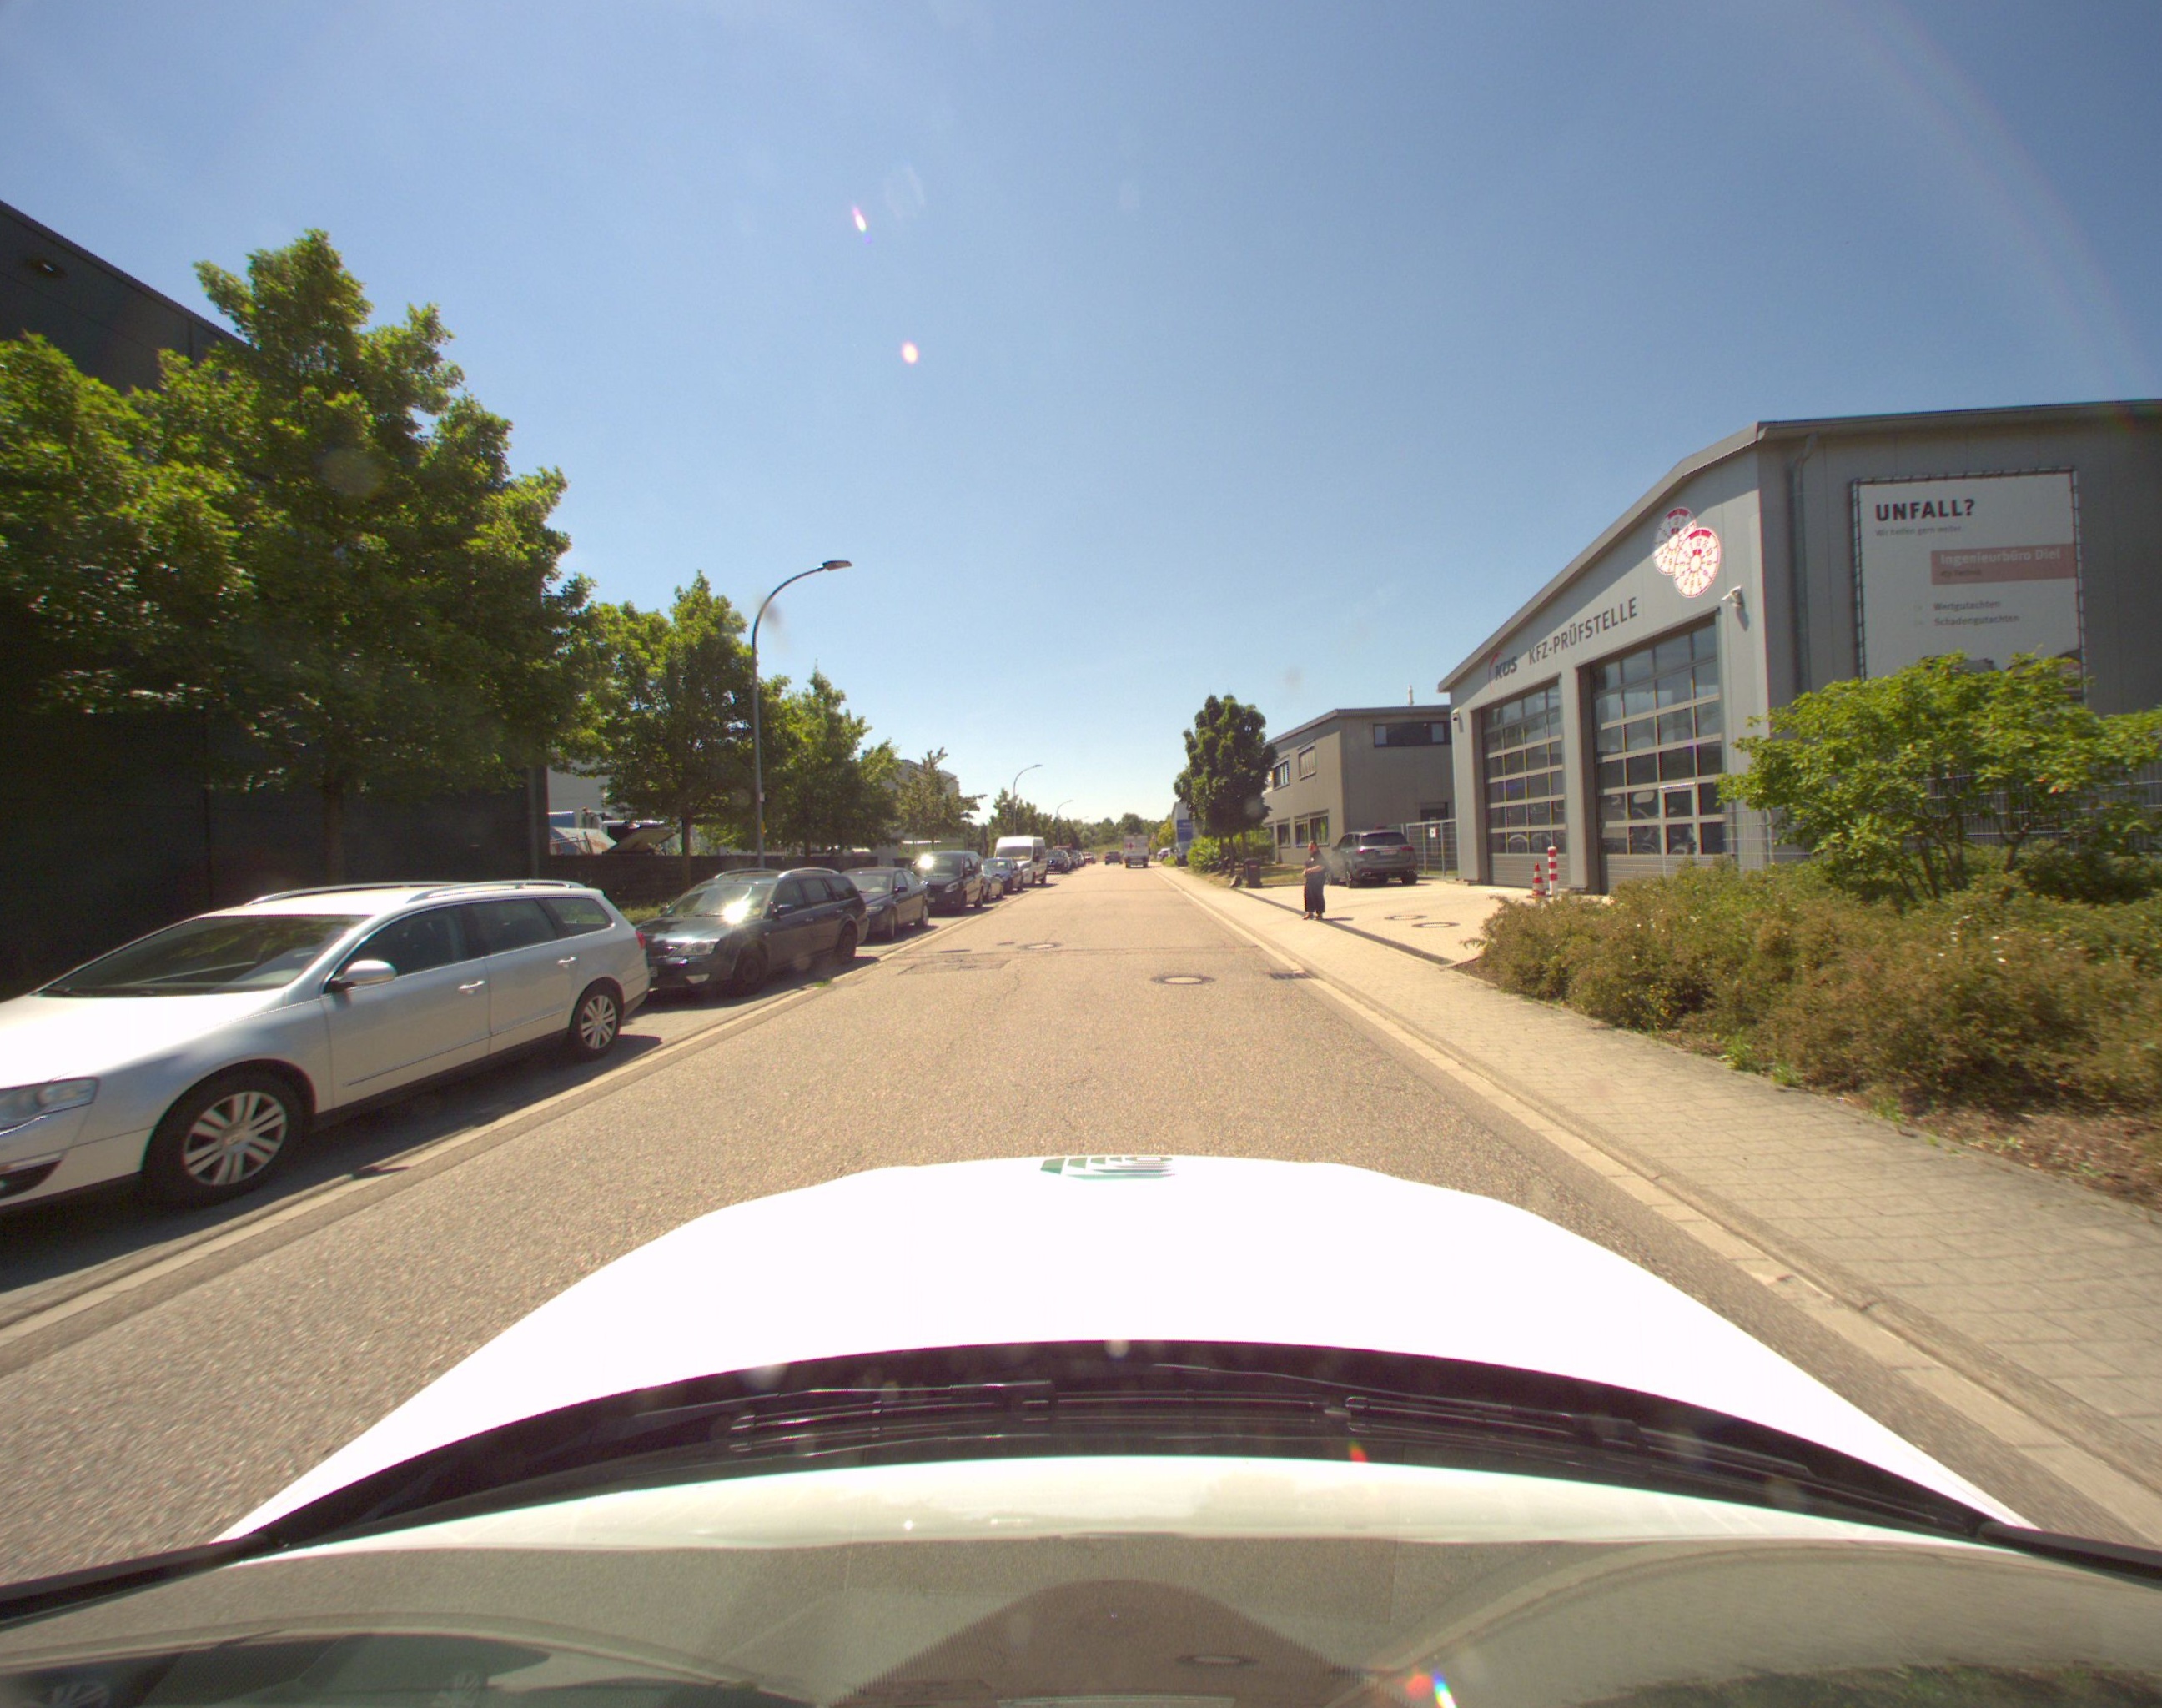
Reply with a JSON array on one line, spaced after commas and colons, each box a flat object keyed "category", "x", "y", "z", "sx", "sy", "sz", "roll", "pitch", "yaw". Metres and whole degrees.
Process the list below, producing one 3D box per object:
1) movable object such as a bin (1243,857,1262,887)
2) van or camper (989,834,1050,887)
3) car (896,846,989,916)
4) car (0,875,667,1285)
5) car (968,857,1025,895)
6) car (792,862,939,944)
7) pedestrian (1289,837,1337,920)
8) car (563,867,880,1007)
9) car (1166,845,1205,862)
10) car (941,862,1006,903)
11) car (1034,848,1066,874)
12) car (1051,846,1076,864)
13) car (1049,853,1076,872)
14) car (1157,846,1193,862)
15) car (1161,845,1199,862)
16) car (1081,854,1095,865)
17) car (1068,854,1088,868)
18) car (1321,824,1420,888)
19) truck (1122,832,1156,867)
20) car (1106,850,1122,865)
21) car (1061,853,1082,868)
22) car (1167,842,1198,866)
[{"category": "movable object such as a bin", "x": 6.126, "y": 0.642, "z": 29.096, "sx": 0.529, "sy": 1.052, "sz": 0.846, "roll": -2, "pitch": -1, "yaw": 5}, {"category": "van or camper", "x": -2.980, "y": 0.297, "z": 41.156, "sx": 2.068, "sy": 2.483, "sz": 6.139, "roll": 0, "pitch": 0, "yaw": 5}, {"category": "car", "x": -3.933, "y": 0.734, "z": 23.795, "sx": 1.792, "sy": 1.814, "sz": 4.254, "roll": -1, "pitch": 0, "yaw": 2}, {"category": "car", "x": -4.934, "y": 0.949, "z": 5.399, "sx": 1.791, "sy": 1.476, "sz": 4.559, "roll": -1, "pitch": 0, "yaw": 3}, {"category": "car", "x": -3.483, "y": 0.860, "z": 34.266, "sx": 1.792, "sy": 1.449, "sz": 4.254, "roll": -1, "pitch": 0, "yaw": 2}, {"category": "car", "x": -4.501, "y": 0.954, "z": 17.761, "sx": 1.792, "sy": 1.476, "sz": 4.591, "roll": -1, "pitch": 0, "yaw": 2}, {"category": "pedestrian", "x": 4.726, "y": 0.493, "z": 16.603, "sx": 0.500, "sy": 1.613, "sz": 0.711, "roll": -6, "pitch": -1, "yaw": -13}, {"category": "car", "x": -4.596, "y": 0.969, "z": 11.373, "sx": 1.788, "sy": 1.476, "sz": 4.648, "roll": -1, "pitch": 0, "yaw": 9}, {"category": "car", "x": 10.894, "y": -0.029, "z": 85.129, "sx": 3.863, "sy": 1.750, "sz": 1.752, "roll": 0, "pitch": 0, "yaw": 0}, {"category": "car", "x": -3.753, "y": 0.984, "z": 29.021, "sx": 1.471, "sy": 1.297, "sz": 3.904, "roll": -1, "pitch": 0, "yaw": 5}, {"category": "car", "x": -2.284, "y": 0.483, "z": 61.078, "sx": 1.791, "sy": 1.848, "sz": 4.258, "roll": -1, "pitch": 0, "yaw": 4}, {"category": "car", "x": -1.529, "y": 0.059, "z": 74.163, "sx": 1.791, "sy": 1.487, "sz": 4.258, "roll": -1, "pitch": 0, "yaw": 4}, {"category": "car", "x": -1.557, "y": 0.724, "z": 68.857, "sx": 1.791, "sy": 1.487, "sz": 4.258, "roll": -1, "pitch": 0, "yaw": 4}, {"category": "car", "x": 10.339, "y": -0.013, "z": 89.818, "sx": 3.863, "sy": 1.750, "sz": 1.752, "roll": 0, "pitch": 0, "yaw": 0}, {"category": "car", "x": 10.612, "y": -0.022, "z": 87.203, "sx": 3.863, "sy": 1.750, "sz": 1.752, "roll": 0, "pitch": 0, "yaw": 0}, {"category": "car", "x": 1.065, "y": 0.765, "z": 118.663, "sx": 1.791, "sy": 1.487, "sz": 4.258, "roll": -1, "pitch": 0, "yaw": 4}, {"category": "car", "x": -0.339, "y": 0.773, "z": 89.681, "sx": 1.791, "sy": 1.487, "sz": 4.258, "roll": -1, "pitch": 0, "yaw": 4}, {"category": "car", "x": 9.227, "y": 0.079, "z": 26.413, "sx": 1.777, "sy": 1.783, "sz": 4.912, "roll": -3, "pitch": -1, "yaw": 5}, {"category": "truck", "x": 5.100, "y": -0.363, "z": 72.306, "sx": 2.920, "sy": 2.974, "sz": 6.424, "roll": 0, "pitch": 0, "yaw": 3}, {"category": "car", "x": 3.702, "y": 0.367, "z": 91.769, "sx": 1.782, "sy": 1.623, "sz": 3.811, "roll": 0, "pitch": 0, "yaw": 3}, {"category": "car", "x": -0.956, "y": 0.657, "z": 83.883, "sx": 1.791, "sy": 1.487, "sz": 4.258, "roll": -1, "pitch": 0, "yaw": 4}, {"category": "car", "x": 8.184, "y": 0.023, "z": 65.763, "sx": 1.987, "sy": 1.803, "sz": 4.140, "roll": -2, "pitch": 0, "yaw": 1}]
